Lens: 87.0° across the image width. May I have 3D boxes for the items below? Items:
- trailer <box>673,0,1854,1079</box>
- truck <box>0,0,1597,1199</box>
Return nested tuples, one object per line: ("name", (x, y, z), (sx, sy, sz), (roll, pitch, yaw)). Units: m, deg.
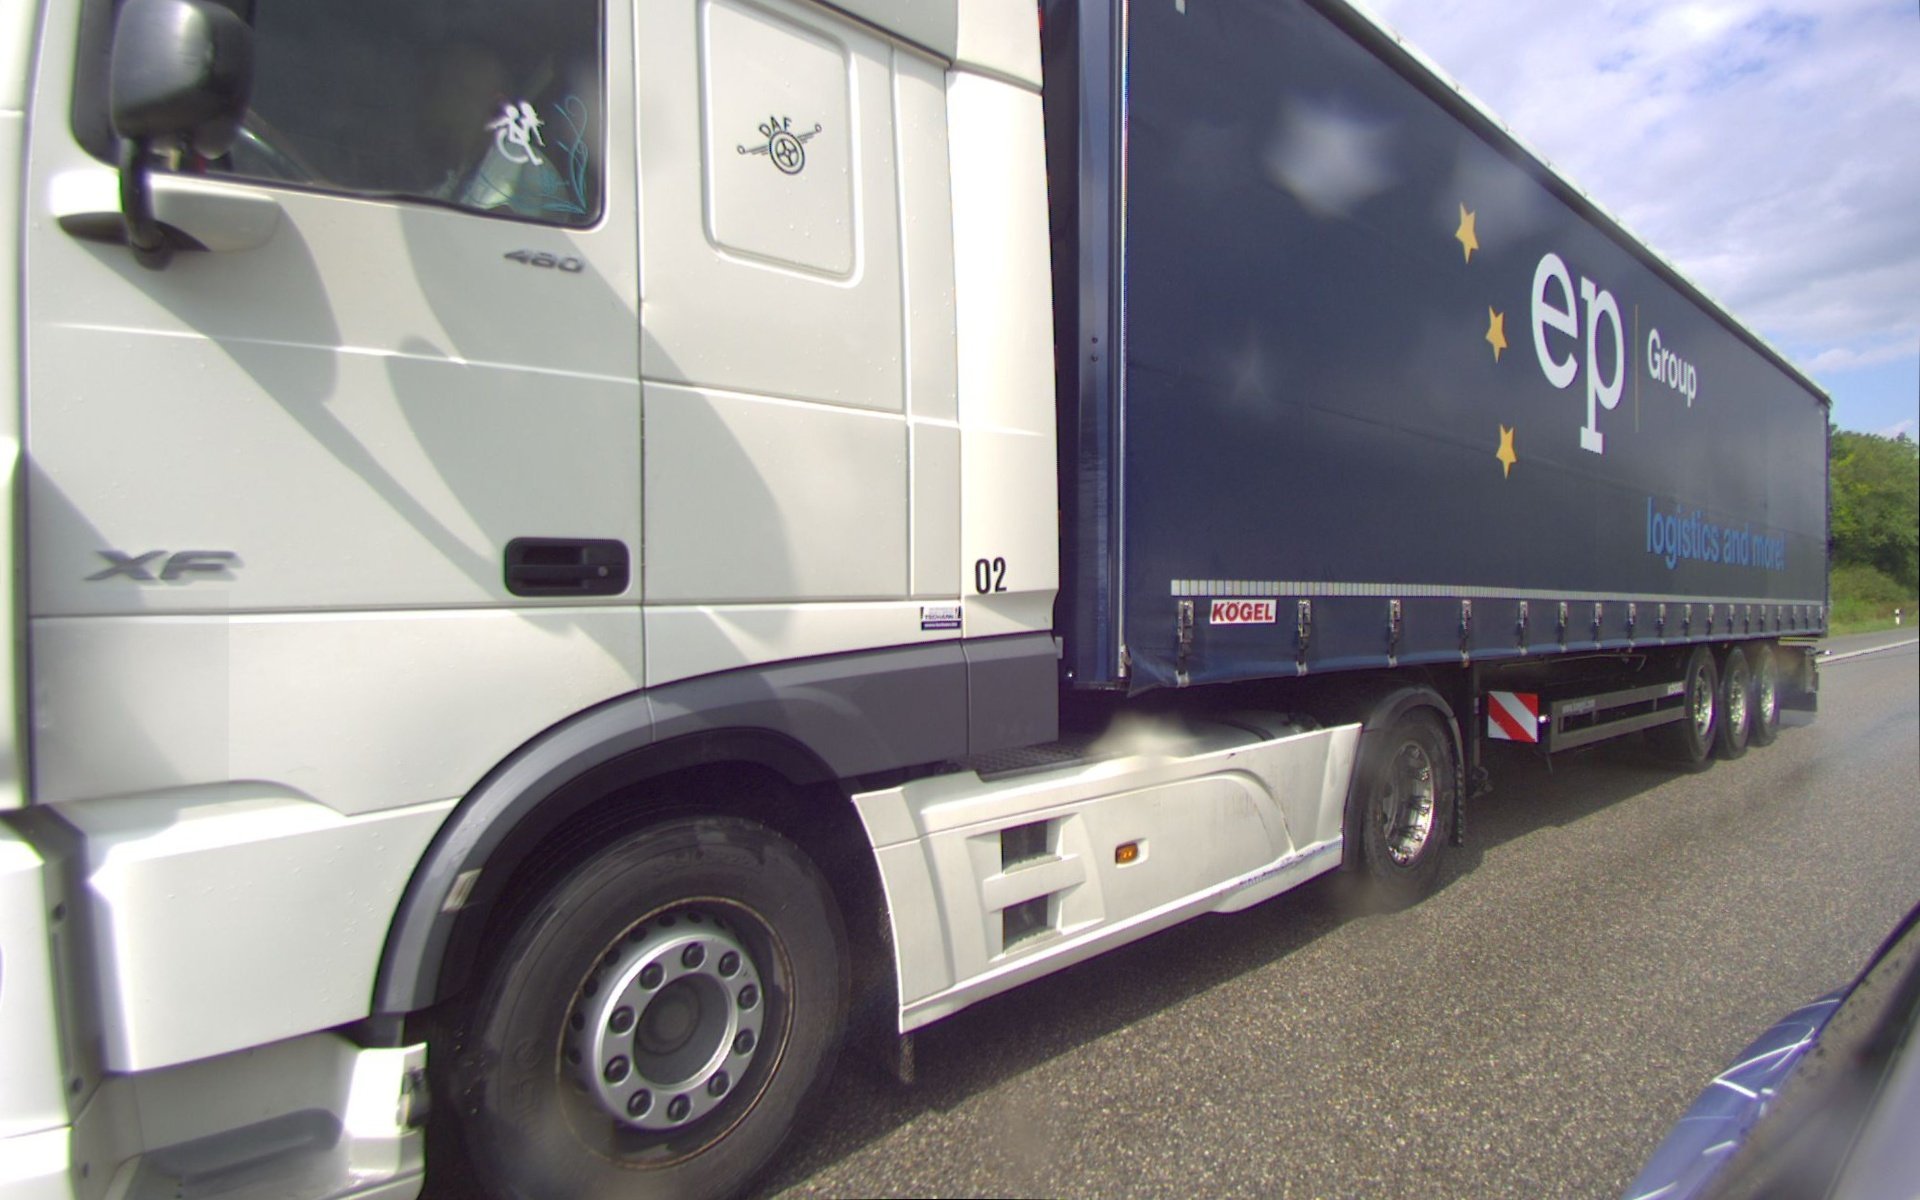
("trailer", (4.630, -0.660, 8.565), (13.819, 4.046, 2.639), (-1, 0, -41))
("truck", (0.336, -0.653, 4.813), (7.163, 4.046, 2.611), (0, 0, -41))
